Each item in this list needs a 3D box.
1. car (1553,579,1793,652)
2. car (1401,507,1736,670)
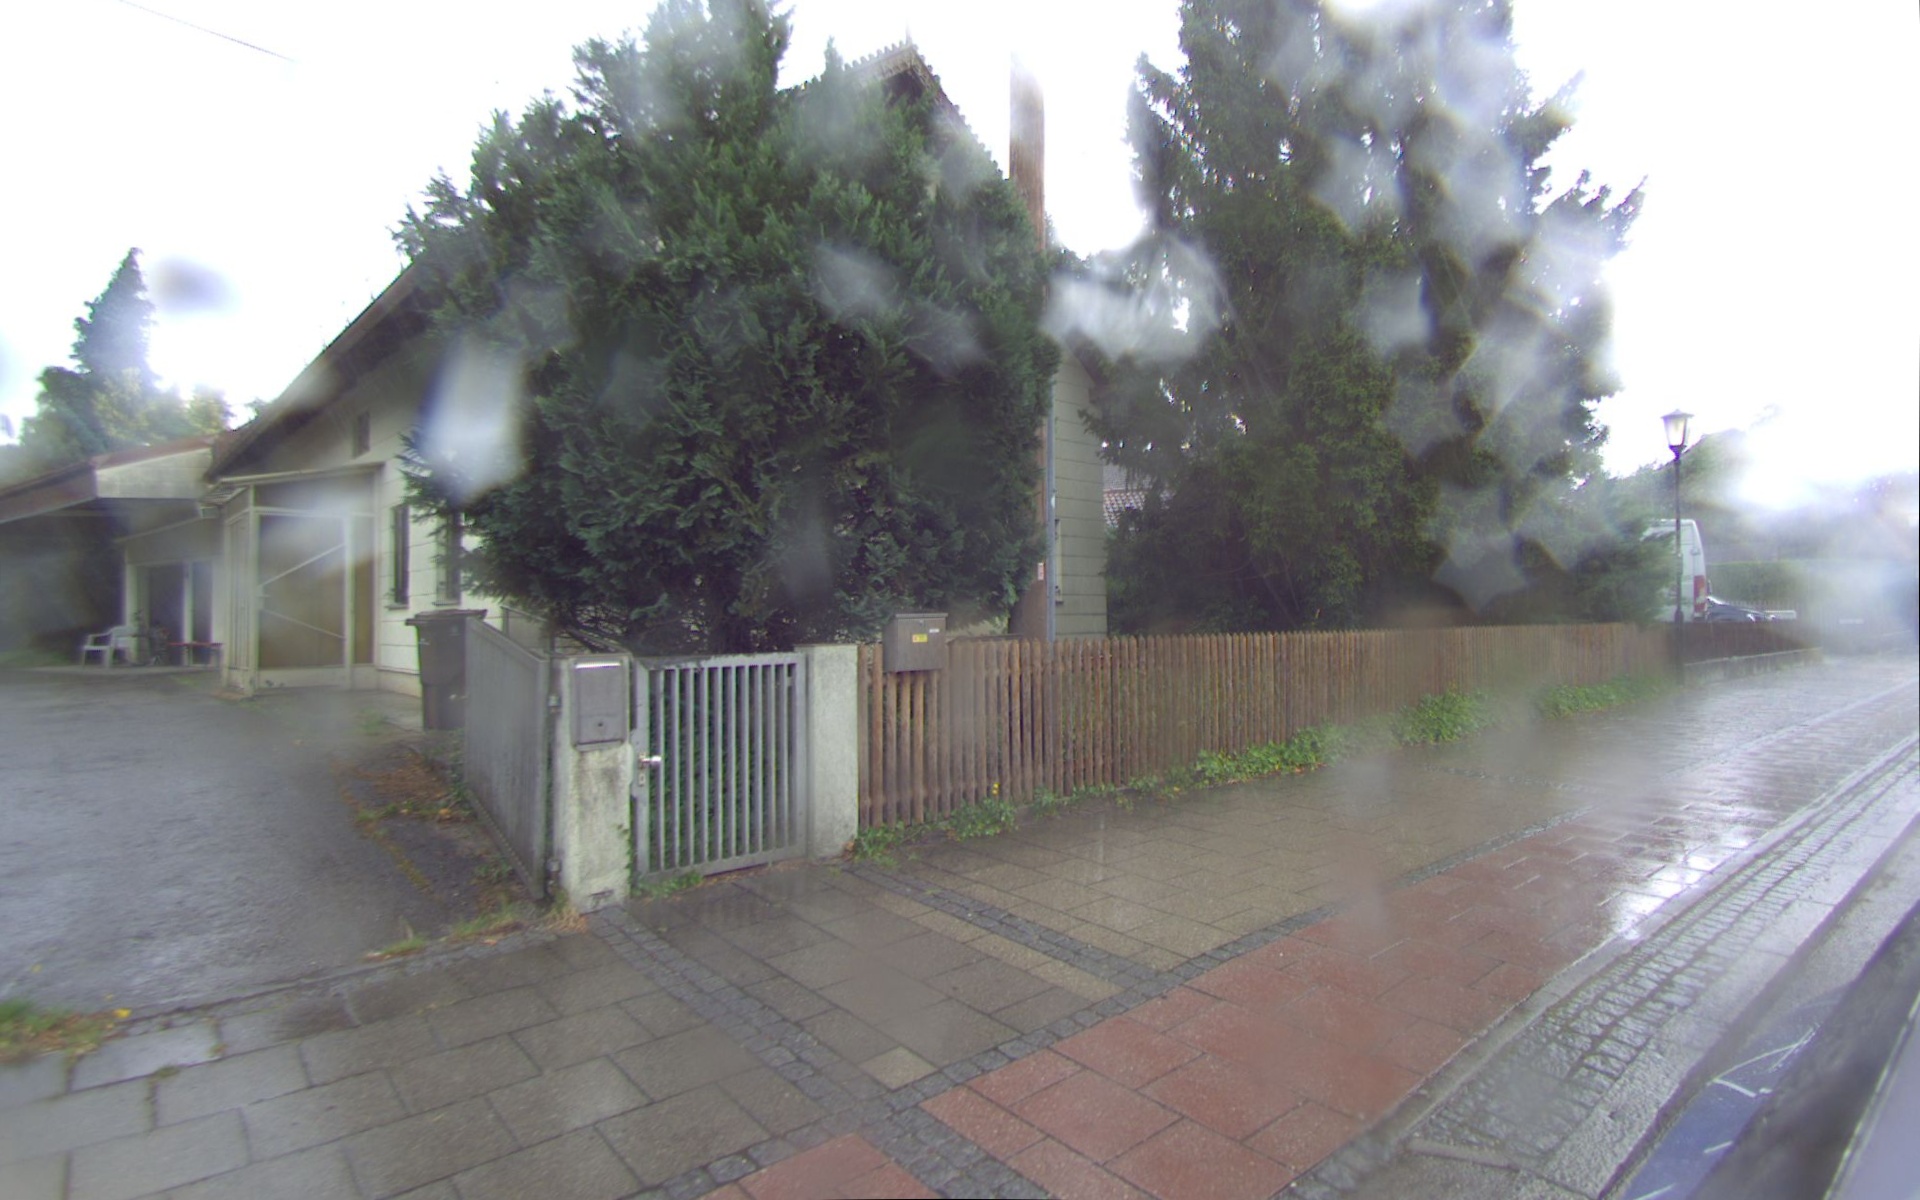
[{"bbox_3d":[16.720,0.291,23.876,4.428,1.438,1.802,3,3,43],"label":"car"},{"bbox_3d":[11.664,-0.302,19.689,5.299,2.761,1.971,3,2,41],"label":"car"}]
